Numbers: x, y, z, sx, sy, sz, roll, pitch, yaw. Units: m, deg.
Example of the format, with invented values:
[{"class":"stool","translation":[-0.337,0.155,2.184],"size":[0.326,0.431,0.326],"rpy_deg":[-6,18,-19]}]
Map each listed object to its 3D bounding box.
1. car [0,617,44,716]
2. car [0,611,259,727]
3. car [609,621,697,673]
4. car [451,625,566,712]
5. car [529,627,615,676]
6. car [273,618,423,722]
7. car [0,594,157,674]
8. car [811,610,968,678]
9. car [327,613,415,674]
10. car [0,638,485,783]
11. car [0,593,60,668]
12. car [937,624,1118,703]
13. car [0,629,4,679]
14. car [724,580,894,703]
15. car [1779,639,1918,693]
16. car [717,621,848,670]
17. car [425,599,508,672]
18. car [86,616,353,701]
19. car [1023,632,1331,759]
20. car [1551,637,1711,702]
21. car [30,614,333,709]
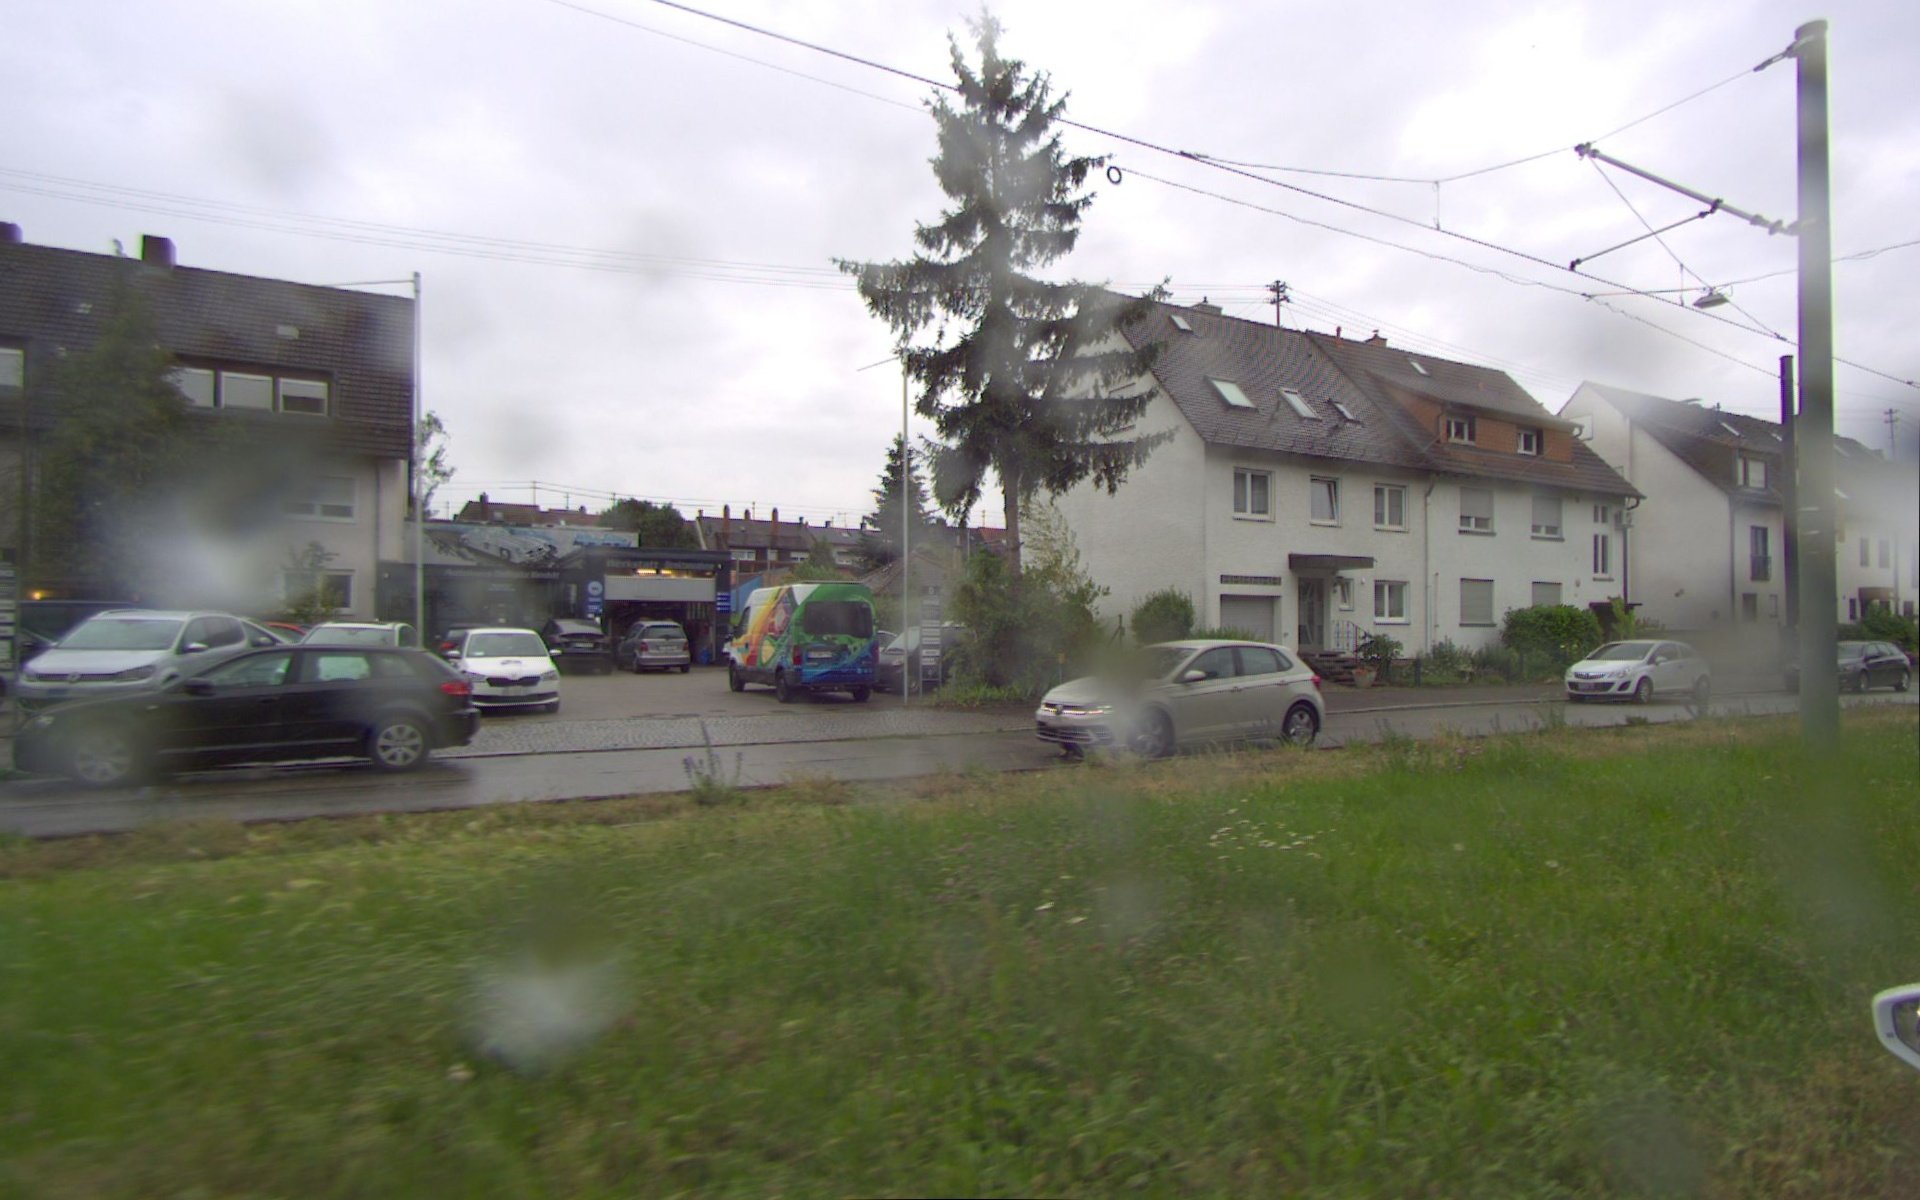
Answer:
[{"class":"car","translation":[-15.425,0.934,14.141],"size":[1.801,1.524,4.051],"rpy_deg":[2,-3,-11]},{"class":"car","translation":[-12.923,1.007,15.953],"size":[1.778,1.599,3.859],"rpy_deg":[0,-2,-16]},{"class":"car","translation":[-9.899,1.488,32.257],"size":[1.767,1.517,3.967],"rpy_deg":[4,-3,-31]},{"class":"car","translation":[-8.367,1.227,18.638],"size":[1.700,1.414,3.819],"rpy_deg":[3,-3,-25]},{"class":"car","translation":[-11.850,1.535,30.565],"size":[1.740,1.349,3.967],"rpy_deg":[4,-3,-31]},{"class":"car","translation":[-10.419,1.164,17.338],"size":[1.699,1.593,3.595],"rpy_deg":[3,-3,-24]},{"class":"car","translation":[-20.944,0.778,22.377],"size":[4.389,1.709,1.987],"rpy_deg":[1,-3,-26]},{"class":"car","translation":[-1.960,1.177,27.996],"size":[3.847,1.586,1.985],"rpy_deg":[-2,0,-29]},{"class":"car","translation":[-16.590,1.221,28.396],"size":[1.977,1.585,3.864],"rpy_deg":[3,-2,-30]},{"class":"car","translation":[-7.710,1.186,11.172],"size":[4.331,1.356,1.712],"rpy_deg":[3,-3,-26]},{"class":"car","translation":[-23.922,0.711,23.078],"size":[4.389,1.709,1.987],"rpy_deg":[1,-3,-26]},{"class":"car","translation":[1.631,1.457,24.182],"size":[3.847,1.586,1.985],"rpy_deg":[-2,0,-29]},{"class":"car","translation":[-11.441,0.949,9.122],"size":[3.603,1.524,1.709],"rpy_deg":[4,-3,-31]},{"class":"car","translation":[-3.556,0.938,22.685],"size":[2.126,2.437,5.111],"rpy_deg":[3,-3,-28]},{"class":"car","translation":[26.182,1.944,29.581],"size":[4.609,1.442,1.594],"rpy_deg":[4,-3,-28]},{"class":"car","translation":[-6.100,1.569,34.999],"size":[1.767,1.601,4.426],"rpy_deg":[-2,-3,40]},{"class":"car","translation":[-14.490,1.000,29.441],"size":[1.975,1.803,3.580],"rpy_deg":[3,1,-28]},{"class":"car","translation":[-16.068,1.245,22.135],"size":[4.389,1.709,1.987],"rpy_deg":[1,-3,-26]},{"class":"car","translation":[2.850,1.213,13.069],"size":[3.773,1.442,1.595],"rpy_deg":[3,-3,-28]},{"class":"car","translation":[16.293,1.699,24.356],"size":[3.895,1.442,1.594],"rpy_deg":[3,-3,-28]},{"class":"car","translation":[-15.044,1.167,19.763],"size":[4.389,1.709,1.749],"rpy_deg":[1,-3,-27]}]
